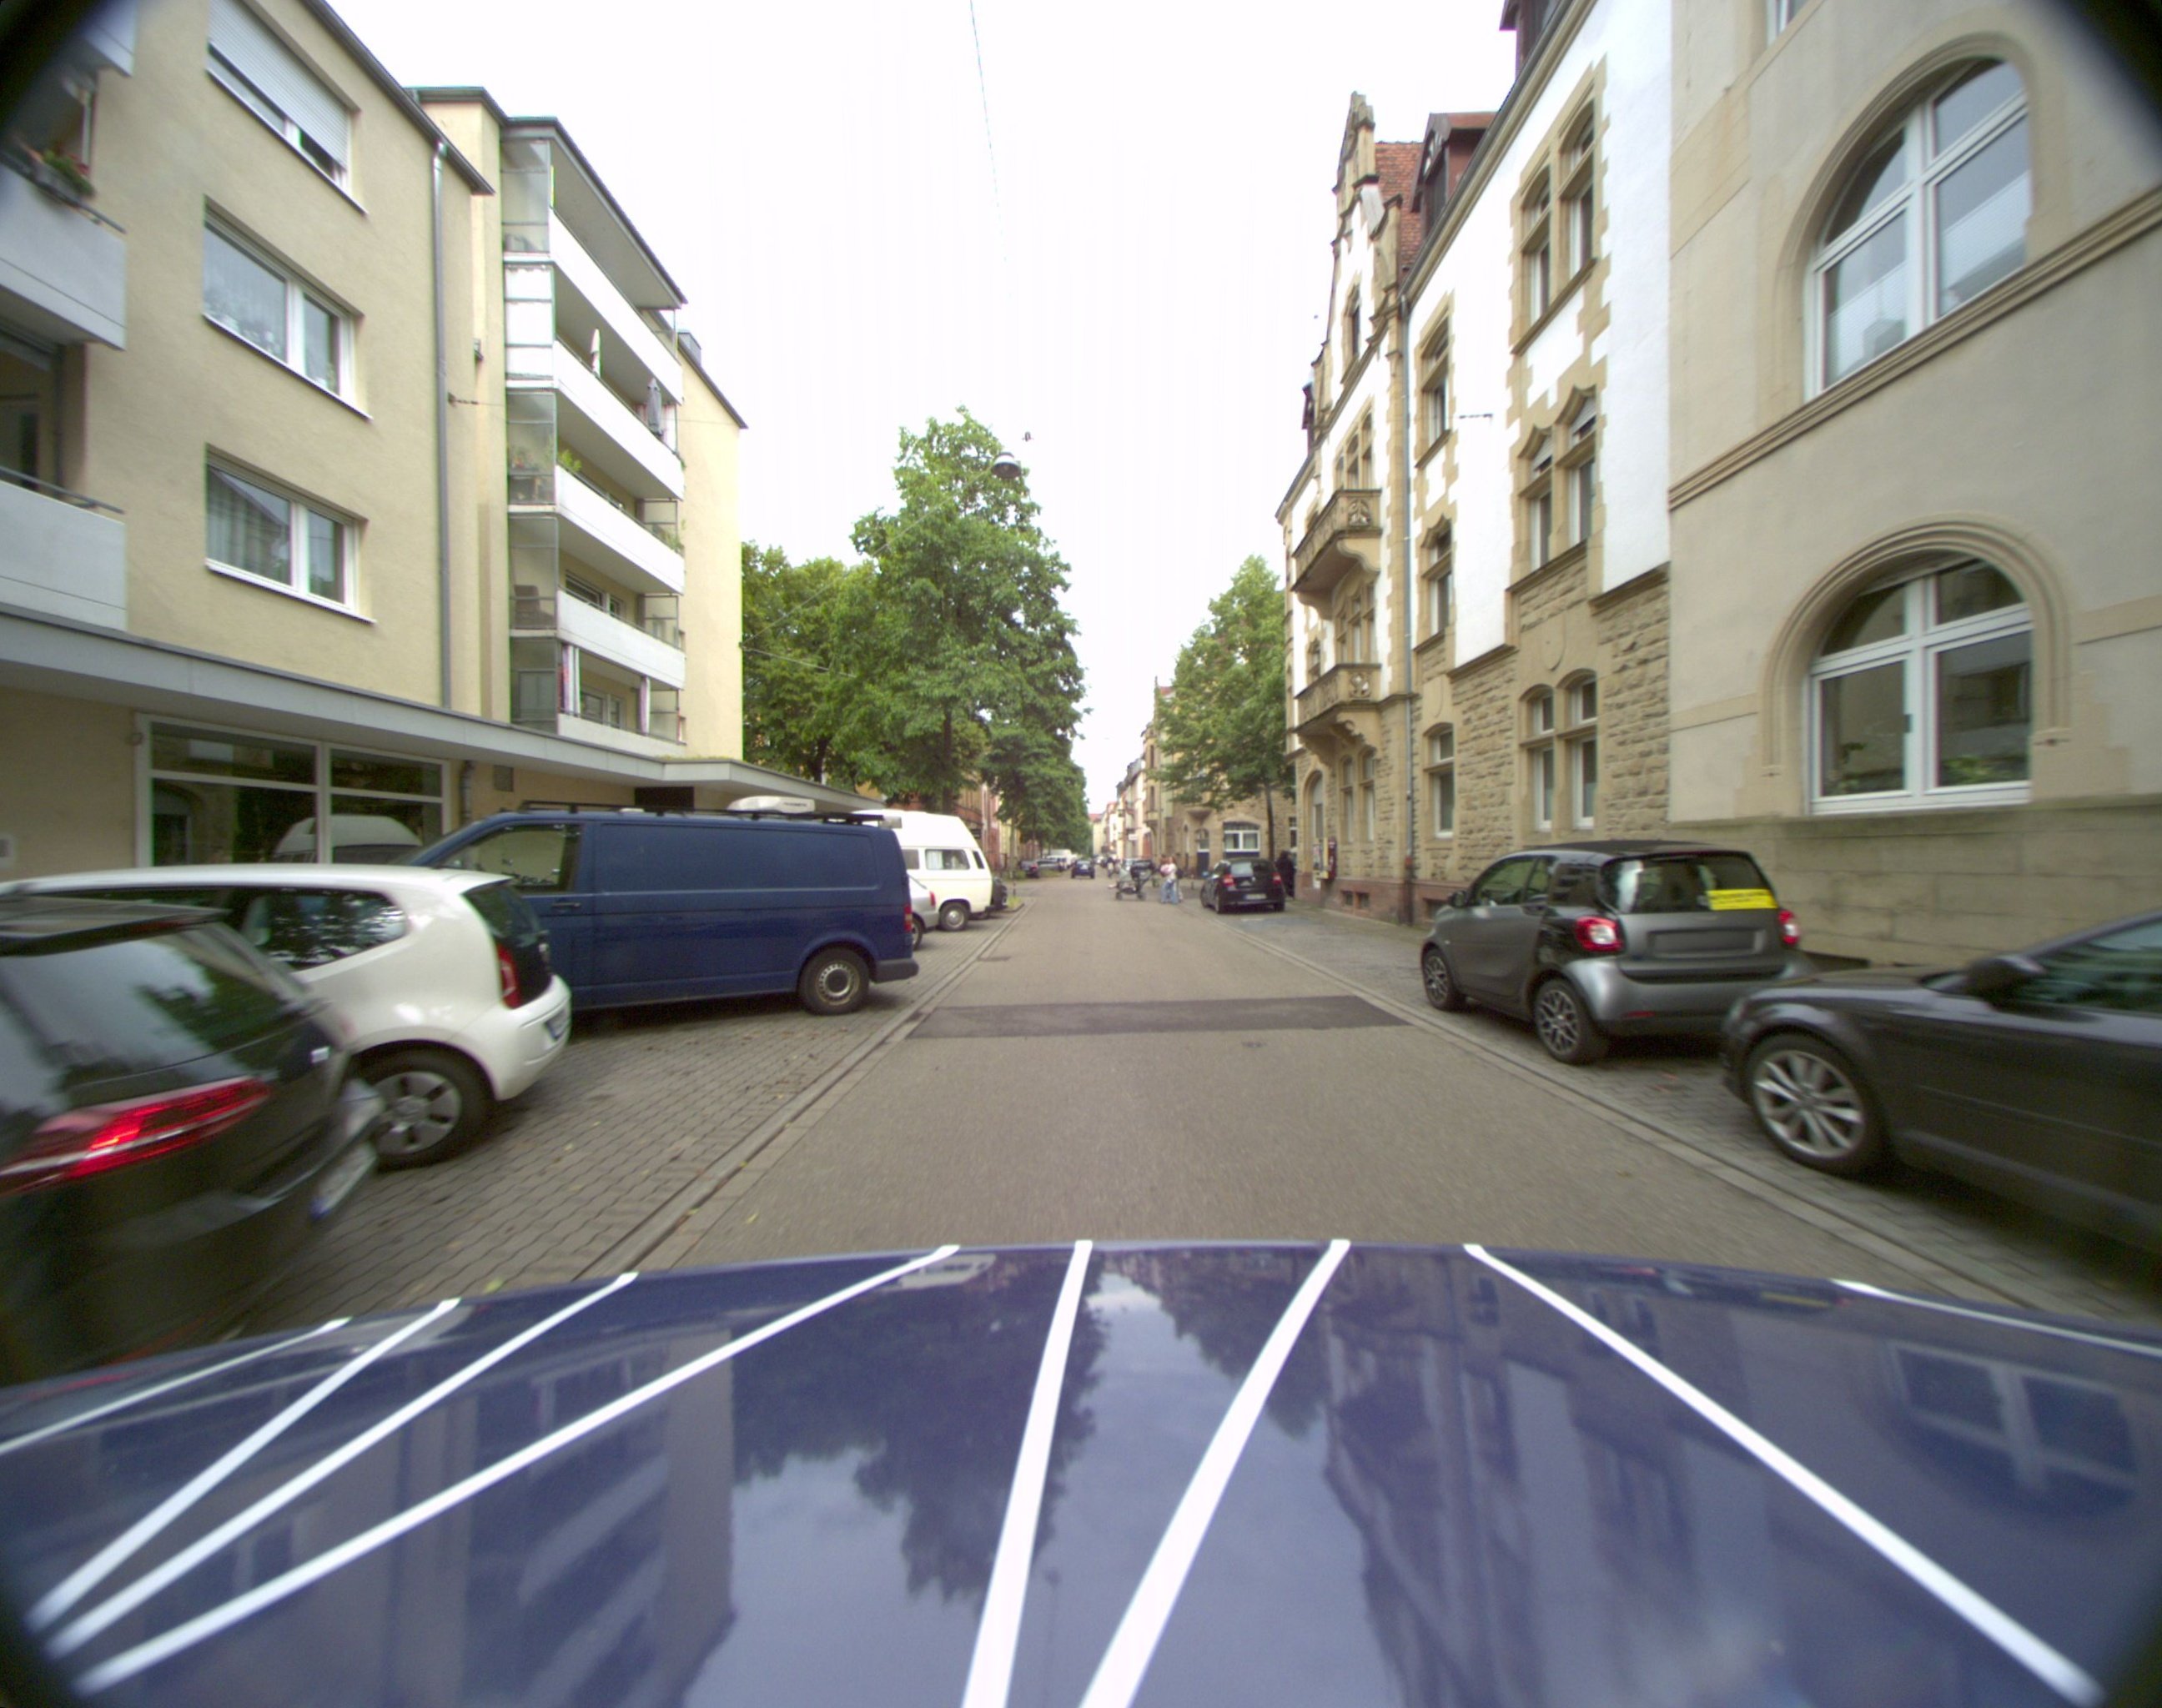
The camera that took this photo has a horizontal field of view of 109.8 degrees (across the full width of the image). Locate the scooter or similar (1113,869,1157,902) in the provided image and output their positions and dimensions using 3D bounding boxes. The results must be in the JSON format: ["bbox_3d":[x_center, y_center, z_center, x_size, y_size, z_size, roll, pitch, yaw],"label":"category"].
[{"bbox_3d":[1.902,1.090,26.674,1.471,1.098,0.676,1,1,12],"label":"scooter or similar"}]

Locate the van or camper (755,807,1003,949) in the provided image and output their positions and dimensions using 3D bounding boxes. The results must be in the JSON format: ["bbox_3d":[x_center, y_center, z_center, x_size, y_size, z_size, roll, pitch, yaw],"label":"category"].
[{"bbox_3d":[-4.126,0.421,15.788,4.604,2.581,1.906,-1,0,-32],"label":"van or camper"}]

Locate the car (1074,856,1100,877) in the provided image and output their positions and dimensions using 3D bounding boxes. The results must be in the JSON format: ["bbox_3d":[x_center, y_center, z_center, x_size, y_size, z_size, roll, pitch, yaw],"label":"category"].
[{"bbox_3d":[0.403,0.937,55.291,1.713,1.404,3.853,0,-2,-2],"label":"car"}]

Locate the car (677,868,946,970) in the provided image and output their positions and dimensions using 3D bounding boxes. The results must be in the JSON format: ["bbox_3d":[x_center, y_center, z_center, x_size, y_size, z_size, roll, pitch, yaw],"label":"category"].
[{"bbox_3d":[-4.363,0.994,12.511,3.825,1.409,1.720,2,-1,-36],"label":"car"}]

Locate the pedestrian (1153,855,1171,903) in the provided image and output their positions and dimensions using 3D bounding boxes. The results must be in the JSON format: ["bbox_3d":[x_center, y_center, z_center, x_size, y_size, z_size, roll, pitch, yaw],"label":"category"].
[{"bbox_3d":[2.843,0.867,26.529,0.529,1.634,0.529,-2,0,10],"label":"pedestrian"}]

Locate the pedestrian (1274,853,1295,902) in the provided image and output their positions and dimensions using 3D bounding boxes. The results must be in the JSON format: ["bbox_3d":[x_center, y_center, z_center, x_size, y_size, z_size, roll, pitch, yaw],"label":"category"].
[{"bbox_3d":[6.315,0.721,23.608,0.516,1.509,0.546,0,0,0],"label":"pedestrian"}]

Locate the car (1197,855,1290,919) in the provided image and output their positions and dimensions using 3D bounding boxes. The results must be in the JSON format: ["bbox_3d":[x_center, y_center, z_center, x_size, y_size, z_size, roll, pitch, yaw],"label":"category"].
[{"bbox_3d":[4.327,0.819,20.758,1.713,1.486,4.000,-4,0,2],"label":"car"}]

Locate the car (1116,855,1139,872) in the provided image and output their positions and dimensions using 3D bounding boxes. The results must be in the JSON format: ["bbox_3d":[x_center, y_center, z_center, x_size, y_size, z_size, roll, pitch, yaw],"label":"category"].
[{"bbox_3d":[4.375,0.887,71.832,1.671,1.502,3.552,-1,0,-4],"label":"car"}]

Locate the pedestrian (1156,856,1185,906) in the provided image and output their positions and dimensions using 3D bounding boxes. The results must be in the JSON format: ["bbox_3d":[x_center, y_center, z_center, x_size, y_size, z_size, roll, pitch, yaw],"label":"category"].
[{"bbox_3d":[2.920,0.881,24.738,0.630,1.584,0.671,-1,0,41],"label":"pedestrian"}]

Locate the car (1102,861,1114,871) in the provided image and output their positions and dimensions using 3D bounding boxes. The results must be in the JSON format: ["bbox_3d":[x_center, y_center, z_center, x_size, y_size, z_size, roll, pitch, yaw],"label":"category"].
[{"bbox_3d":[4.099,1.742,115.226,1.610,1.463,3.342,-1,0,0],"label":"car"}]

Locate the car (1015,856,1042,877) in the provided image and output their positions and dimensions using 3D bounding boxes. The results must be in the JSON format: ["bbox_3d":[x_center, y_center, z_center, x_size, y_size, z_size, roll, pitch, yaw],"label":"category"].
[{"bbox_3d":[-3.988,0.922,58.412,1.768,1.477,4.479,1,0,0],"label":"car"}]

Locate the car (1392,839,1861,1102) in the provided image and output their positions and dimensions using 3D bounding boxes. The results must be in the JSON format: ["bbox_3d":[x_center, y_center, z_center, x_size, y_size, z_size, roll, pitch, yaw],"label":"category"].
[{"bbox_3d":[4.055,0.760,6.284,1.651,1.561,2.957,-4,-1,-1],"label":"car"}]

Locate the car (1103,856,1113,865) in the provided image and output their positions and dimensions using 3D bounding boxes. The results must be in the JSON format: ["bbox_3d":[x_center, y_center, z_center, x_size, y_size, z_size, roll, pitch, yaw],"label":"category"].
[{"bbox_3d":[4.330,1.011,121.648,1.457,1.401,3.811,-2,0,2],"label":"car"}]

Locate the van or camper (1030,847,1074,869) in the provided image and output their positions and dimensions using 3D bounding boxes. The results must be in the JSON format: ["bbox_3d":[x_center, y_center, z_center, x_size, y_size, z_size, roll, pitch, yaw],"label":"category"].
[{"bbox_3d":[-3.621,0.500,94.665,5.077,2.575,2.069,-1,0,-30],"label":"van or camper"}]

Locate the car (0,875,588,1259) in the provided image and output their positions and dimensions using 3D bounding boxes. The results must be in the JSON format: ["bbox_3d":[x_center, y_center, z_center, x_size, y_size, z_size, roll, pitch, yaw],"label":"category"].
[{"bbox_3d":[-4.909,0.879,3.737,3.919,1.457,1.821,0,0,-24],"label":"car"}]

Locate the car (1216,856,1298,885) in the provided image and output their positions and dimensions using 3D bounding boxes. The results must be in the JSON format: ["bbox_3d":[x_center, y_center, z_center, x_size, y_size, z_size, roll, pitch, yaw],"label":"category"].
[{"bbox_3d":[9.616,0.896,41.782,4.280,1.459,1.662,0,4,7],"label":"car"}]

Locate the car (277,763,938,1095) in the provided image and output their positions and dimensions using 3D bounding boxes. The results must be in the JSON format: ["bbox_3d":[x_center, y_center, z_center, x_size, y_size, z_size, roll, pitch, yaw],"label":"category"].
[{"bbox_3d":[-4.009,0.561,7.254,4.716,2.183,2.061,2,-1,-38],"label":"car"}]

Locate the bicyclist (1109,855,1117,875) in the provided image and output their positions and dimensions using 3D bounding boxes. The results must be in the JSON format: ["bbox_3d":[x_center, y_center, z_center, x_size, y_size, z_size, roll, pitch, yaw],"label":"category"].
[{"bbox_3d":[2.428,0.819,57.404,0.649,1.529,0.677,0,1,3],"label":"bicyclist"}]

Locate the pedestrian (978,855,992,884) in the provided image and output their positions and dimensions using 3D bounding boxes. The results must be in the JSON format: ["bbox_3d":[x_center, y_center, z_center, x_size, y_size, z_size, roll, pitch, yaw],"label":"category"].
[{"bbox_3d":[-5.968,0.975,47.285,0.781,1.786,0.509,-1,0,2],"label":"pedestrian"}]

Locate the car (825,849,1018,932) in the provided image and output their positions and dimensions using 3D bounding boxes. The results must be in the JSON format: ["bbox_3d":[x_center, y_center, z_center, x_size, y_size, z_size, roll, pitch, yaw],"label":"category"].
[{"bbox_3d":[-3.957,0.815,18.845,4.351,1.843,1.907,-1,0,-25],"label":"car"}]

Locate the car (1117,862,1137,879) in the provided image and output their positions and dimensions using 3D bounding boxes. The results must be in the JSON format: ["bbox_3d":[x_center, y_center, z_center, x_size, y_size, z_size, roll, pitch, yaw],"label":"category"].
[{"bbox_3d":[4.005,1.462,66.954,1.521,1.425,3.456,-2,0,1],"label":"car"}]

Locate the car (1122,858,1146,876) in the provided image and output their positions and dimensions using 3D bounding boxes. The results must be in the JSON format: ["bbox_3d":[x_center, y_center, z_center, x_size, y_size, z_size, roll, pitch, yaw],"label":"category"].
[{"bbox_3d":[4.279,1.048,61.841,1.593,1.425,3.809,-2,0,-1],"label":"car"}]

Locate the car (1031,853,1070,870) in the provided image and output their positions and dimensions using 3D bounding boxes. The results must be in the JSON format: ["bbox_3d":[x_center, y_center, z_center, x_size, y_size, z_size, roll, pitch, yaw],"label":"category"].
[{"bbox_3d":[-3.391,0.791,83.822,3.993,1.801,1.722,-1,0,12],"label":"car"}]

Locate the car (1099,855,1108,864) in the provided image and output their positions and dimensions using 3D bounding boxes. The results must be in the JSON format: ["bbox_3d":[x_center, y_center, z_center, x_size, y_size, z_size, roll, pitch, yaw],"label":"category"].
[{"bbox_3d":[5.358,1.307,179.686,2.052,2.071,3.811,-2,0,1],"label":"car"}]

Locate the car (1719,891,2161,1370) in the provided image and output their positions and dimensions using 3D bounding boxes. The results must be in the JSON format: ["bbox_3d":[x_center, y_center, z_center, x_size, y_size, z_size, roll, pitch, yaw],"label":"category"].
[{"bbox_3d":[4.109,0.861,1.944,1.730,1.378,3.930,0,0,2],"label":"car"}]

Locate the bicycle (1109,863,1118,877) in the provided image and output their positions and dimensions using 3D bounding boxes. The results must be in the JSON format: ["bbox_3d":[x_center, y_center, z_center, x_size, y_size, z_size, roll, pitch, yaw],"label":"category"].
[{"bbox_3d":[2.450,1.222,57.567,0.635,1.087,1.800,0,-1,3],"label":"bicycle"}]

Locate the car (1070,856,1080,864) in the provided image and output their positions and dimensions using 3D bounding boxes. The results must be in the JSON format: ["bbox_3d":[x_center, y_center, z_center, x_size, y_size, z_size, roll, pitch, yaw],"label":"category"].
[{"bbox_3d":[-1.346,1.261,165.862,1.998,1.739,4.001,-1,0,2],"label":"car"}]

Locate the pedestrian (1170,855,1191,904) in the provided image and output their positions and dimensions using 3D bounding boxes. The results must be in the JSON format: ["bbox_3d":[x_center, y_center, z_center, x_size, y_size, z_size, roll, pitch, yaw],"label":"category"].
[{"bbox_3d":[3.354,0.846,25.615,0.617,1.634,0.604,-1,0,12],"label":"pedestrian"}]

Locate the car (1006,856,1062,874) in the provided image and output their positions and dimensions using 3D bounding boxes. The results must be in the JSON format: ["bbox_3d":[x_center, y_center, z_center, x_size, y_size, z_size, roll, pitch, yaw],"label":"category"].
[{"bbox_3d":[-4.019,0.957,65.492,4.454,1.419,1.754,2,0,-33],"label":"car"}]

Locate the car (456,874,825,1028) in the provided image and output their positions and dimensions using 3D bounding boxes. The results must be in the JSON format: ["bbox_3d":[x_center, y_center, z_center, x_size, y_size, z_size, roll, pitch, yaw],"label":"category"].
[{"bbox_3d":[-5.309,1.042,9.502,3.674,1.472,1.685,-1,0,-33],"label":"car"}]

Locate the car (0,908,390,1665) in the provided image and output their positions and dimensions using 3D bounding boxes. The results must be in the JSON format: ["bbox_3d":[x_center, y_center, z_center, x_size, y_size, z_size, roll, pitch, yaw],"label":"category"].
[{"bbox_3d":[-4.276,0.951,1.413,4.120,1.434,1.848,0,0,-31],"label":"car"}]

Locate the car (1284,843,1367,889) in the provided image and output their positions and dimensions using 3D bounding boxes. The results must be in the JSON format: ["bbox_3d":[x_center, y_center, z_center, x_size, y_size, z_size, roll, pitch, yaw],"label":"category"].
[{"bbox_3d":[11.031,0.514,34.544,1.834,1.956,3.957,-1,0,-12],"label":"car"}]

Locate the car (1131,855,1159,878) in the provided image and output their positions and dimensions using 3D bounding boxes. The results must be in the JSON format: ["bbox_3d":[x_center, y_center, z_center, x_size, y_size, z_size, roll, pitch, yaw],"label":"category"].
[{"bbox_3d":[4.333,0.835,51.992,1.731,1.425,3.882,-2,0,2],"label":"car"}]
